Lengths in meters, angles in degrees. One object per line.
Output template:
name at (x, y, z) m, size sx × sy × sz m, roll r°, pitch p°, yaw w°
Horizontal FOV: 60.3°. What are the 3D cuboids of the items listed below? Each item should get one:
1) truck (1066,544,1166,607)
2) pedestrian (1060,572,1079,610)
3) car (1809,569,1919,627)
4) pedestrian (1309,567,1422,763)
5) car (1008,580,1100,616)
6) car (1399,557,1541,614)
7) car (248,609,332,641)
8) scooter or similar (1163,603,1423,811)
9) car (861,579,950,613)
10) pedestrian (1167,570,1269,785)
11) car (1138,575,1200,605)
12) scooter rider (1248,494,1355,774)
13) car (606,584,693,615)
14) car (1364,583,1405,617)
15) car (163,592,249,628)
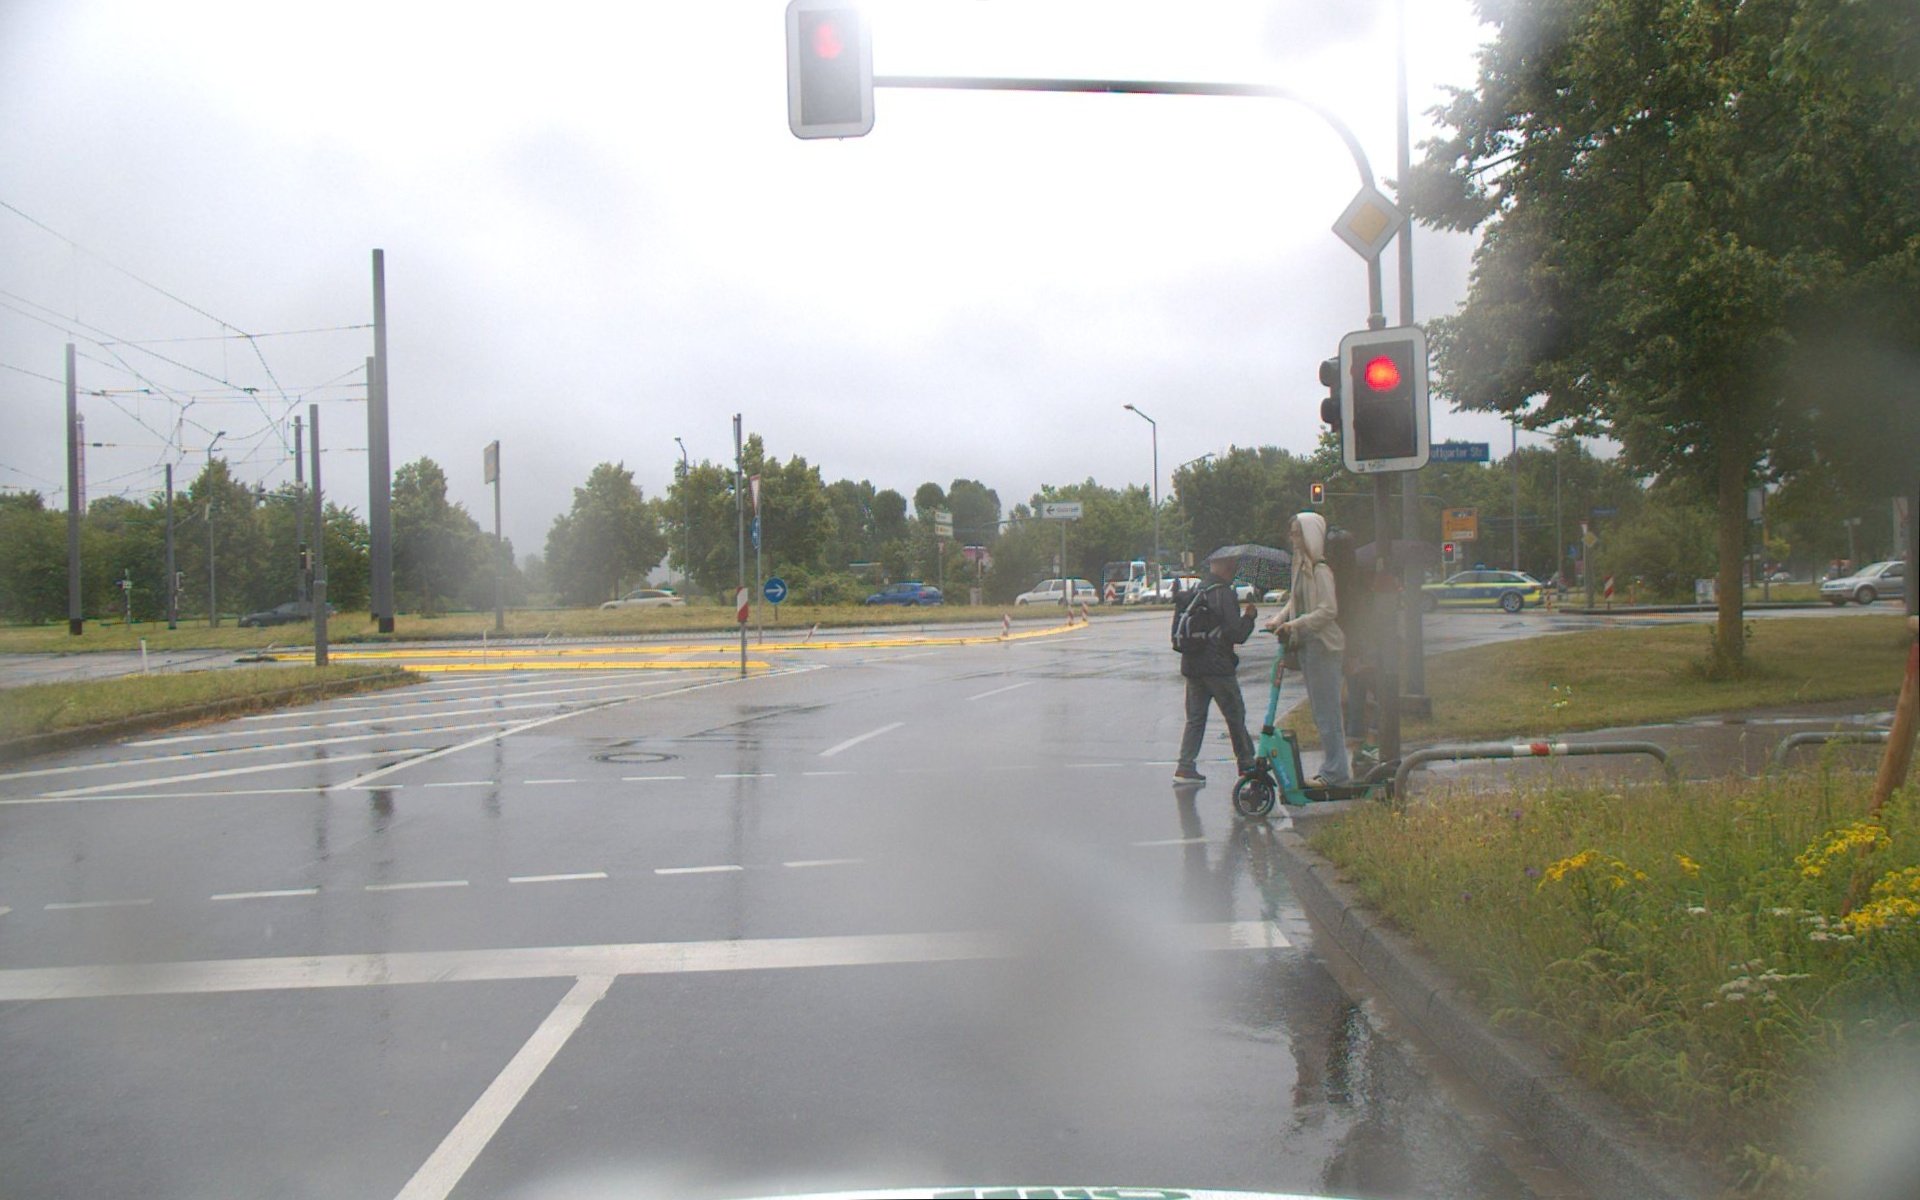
truck at (7.393, -1.093, 77.553) m, size 2.411 × 2.733 × 8.057 m, roll 1°, pitch 0°, yaw 22°
pedestrian at (3.831, -0.324, 57.920) m, size 0.445 × 1.327 × 0.483 m, roll -1°, pitch 0°, yaw 38°
car at (31.457, -0.037, 55.784) m, size 4.665 × 1.883 × 1.999 m, roll 1°, pitch -1°, yaw -3°
pedestrian at (3.184, 0.501, 13.034) m, size 0.666 × 1.486 × 0.573 m, roll -2°, pitch -1°, yaw -5°
car at (4.019, -0.069, 70.923) m, size 1.610 × 1.479 × 3.925 m, roll -1°, pitch 1°, yaw -43°
car at (17.853, -0.493, 57.926) m, size 4.660 × 1.883 × 2.001 m, roll -1°, pitch 0°, yaw 19°
car at (-34.378, 1.268, 84.897) m, size 3.922 × 1.479 × 1.611 m, roll -1°, pitch 1°, yaw -24°
scooter or similar at (2.119, 0.679, 10.577) m, size 1.555 × 1.281 × 0.447 m, roll 1°, pitch -1°, yaw -7°
car at (-2.507, -0.187, 75.832) m, size 3.908 × 1.479 × 1.617 m, roll -1°, pitch 1°, yaw 37°
pedestrian at (1.913, 0.559, 12.333) m, size 0.608 × 1.549 × 0.741 m, roll 1°, pitch 0°, yaw -2°
car at (12.647, -0.610, 99.964) m, size 1.769 × 1.691 × 4.112 m, roll 1°, pitch -1°, yaw 40°
scooter rider at (2.180, 0.210, 10.592) m, size 0.521 × 1.739 × 0.433 m, roll -2°, pitch 0°, yaw -6°
car at (-15.568, -0.015, 82.949) m, size 4.015 × 1.479 × 1.623 m, roll -1°, pitch 0°, yaw 0°
car at (19.138, -0.016, 74.701) m, size 1.583 × 1.479 × 3.991 m, roll -1°, pitch 1°, yaw 12°
car at (-40.053, 0.541, 87.941) m, size 1.644 × 1.847 × 3.994 m, roll 1°, pitch -1°, yaw 28°
